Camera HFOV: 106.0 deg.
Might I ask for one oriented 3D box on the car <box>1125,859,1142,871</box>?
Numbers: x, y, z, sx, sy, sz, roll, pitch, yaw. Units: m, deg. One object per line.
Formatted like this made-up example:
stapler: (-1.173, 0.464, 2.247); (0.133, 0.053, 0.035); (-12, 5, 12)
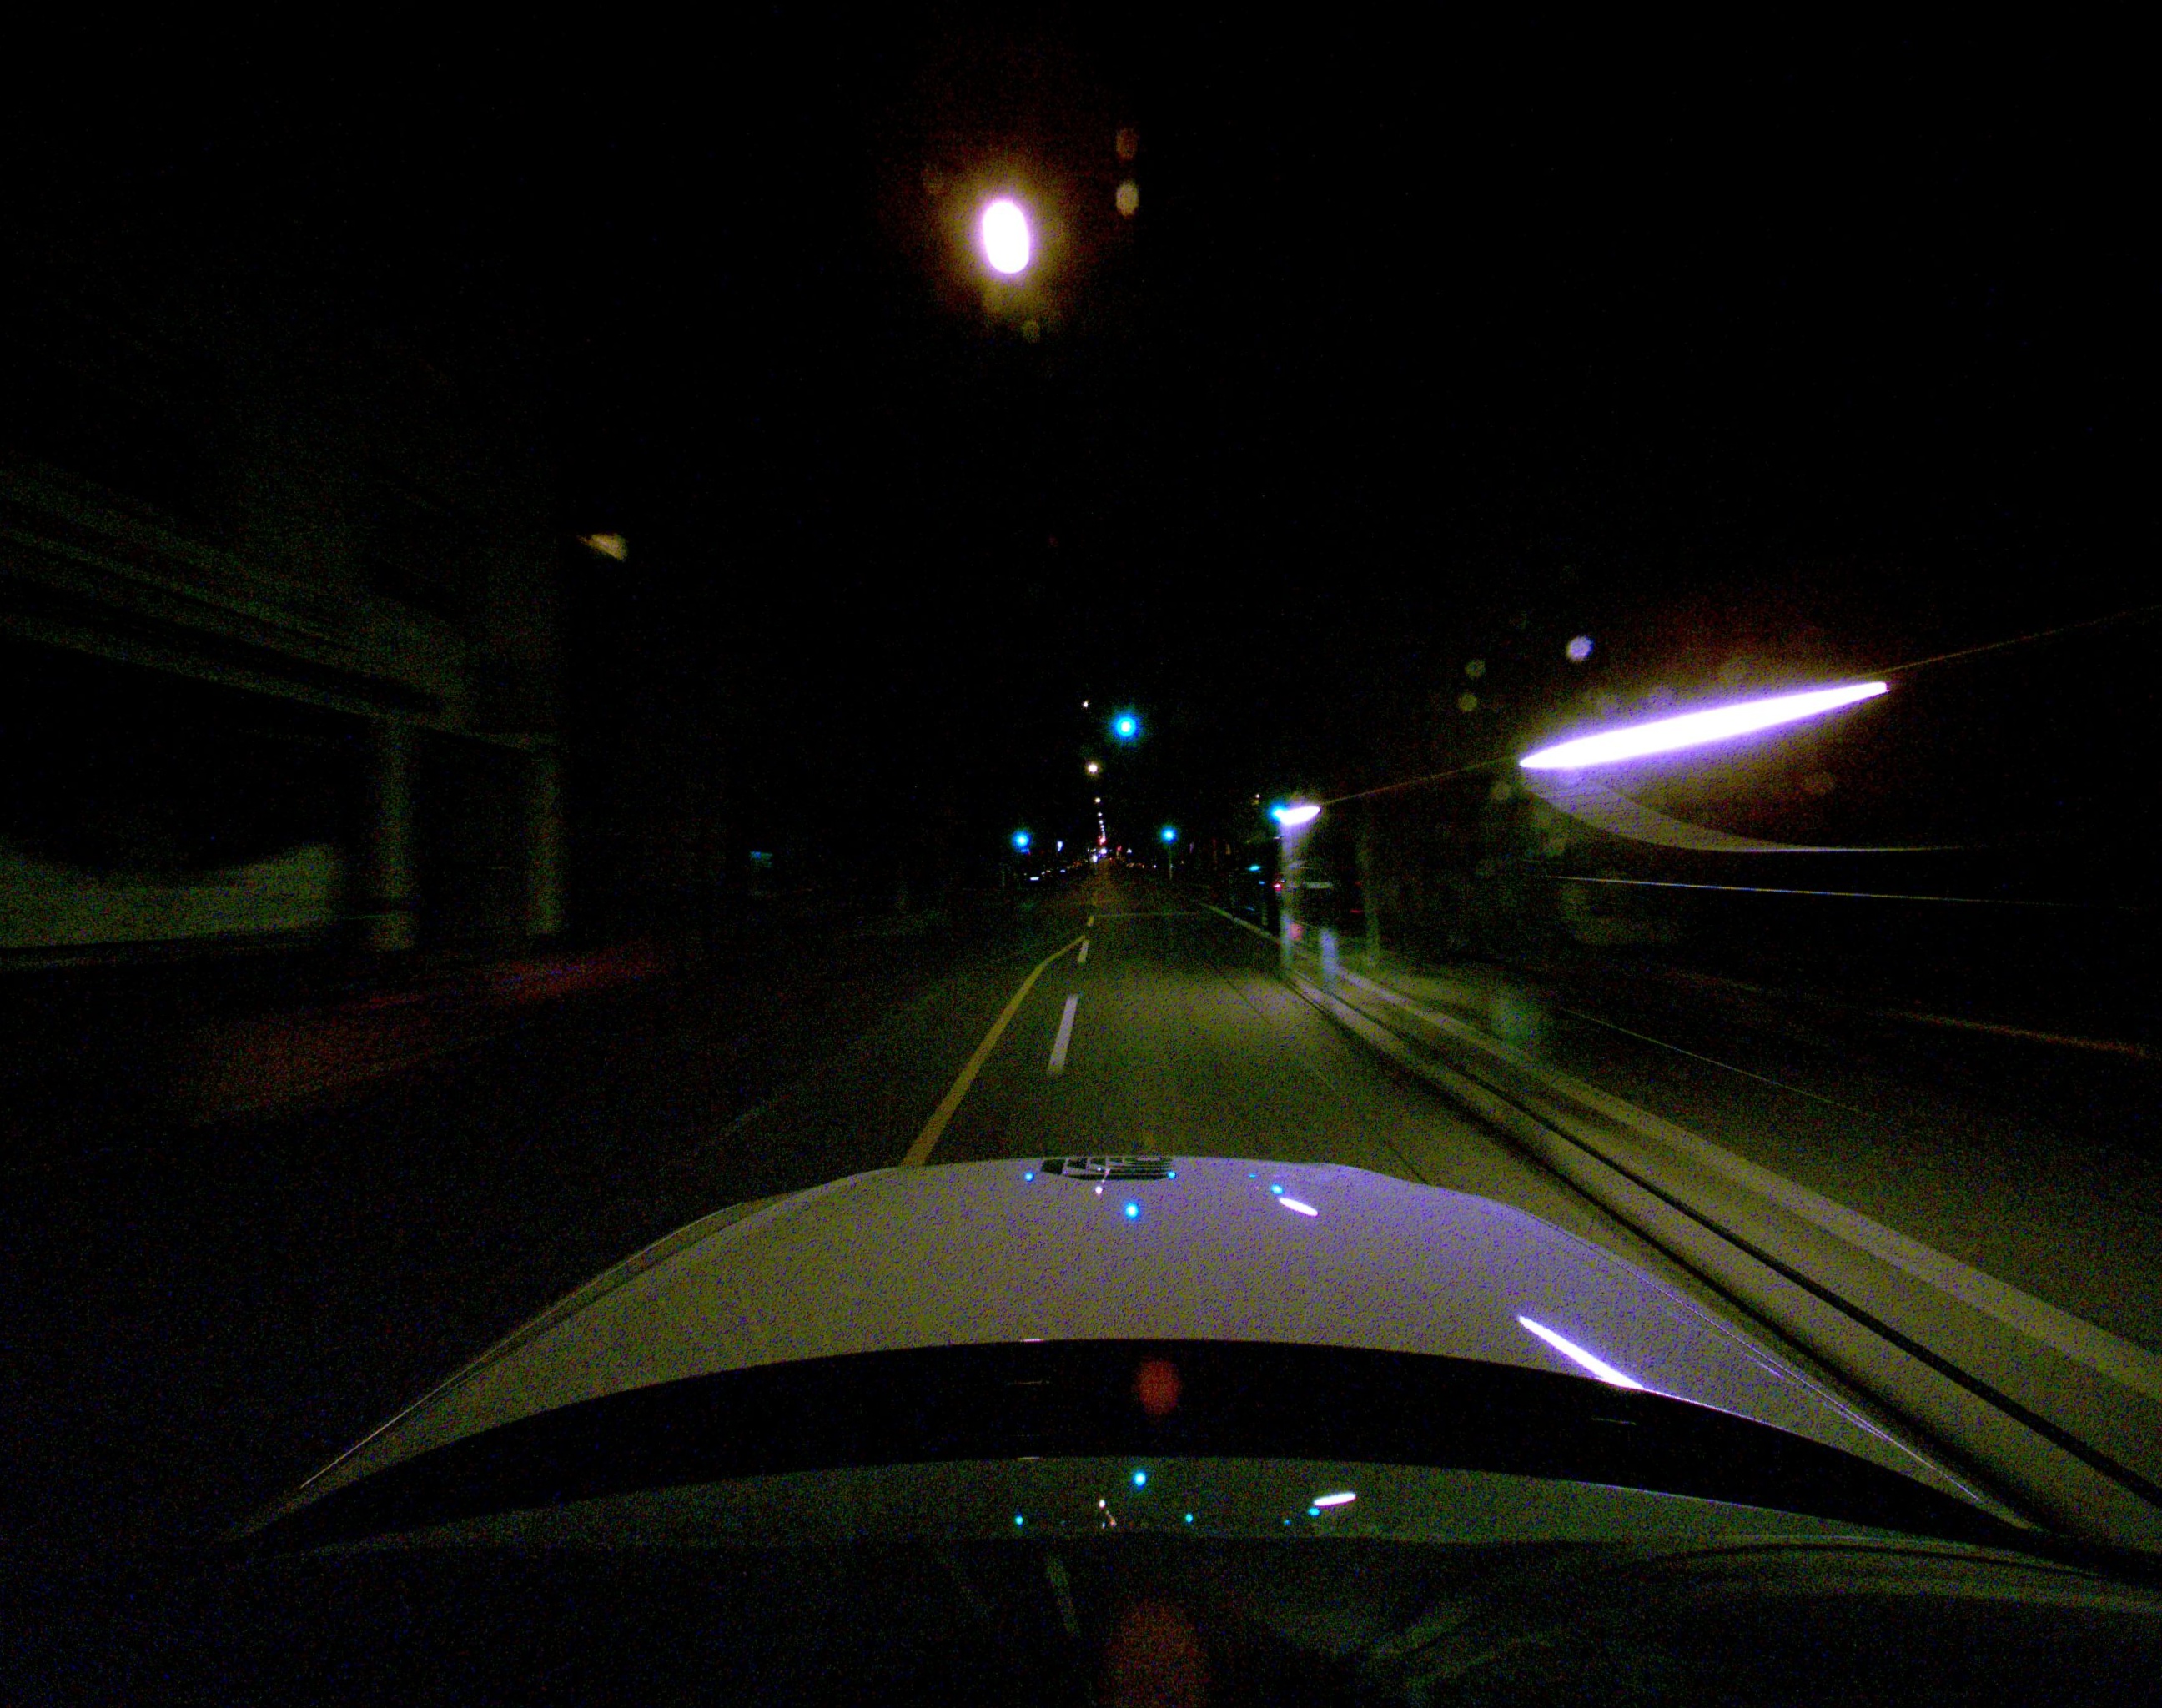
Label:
car: (6.784, 1.400, 105.382); (1.838, 1.417, 4.646); (-4, -1, 1)

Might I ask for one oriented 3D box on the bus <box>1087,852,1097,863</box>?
bus: (3.182, 1.082, 237.627); (2.827, 3.177, 10.503); (-1, 0, 2)

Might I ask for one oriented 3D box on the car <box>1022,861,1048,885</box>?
car: (-3.072, 1.272, 54.539); (1.643, 1.514, 3.699); (-1, -1, -2)

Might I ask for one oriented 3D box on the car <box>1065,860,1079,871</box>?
car: (-1.285, 1.653, 116.381); (1.857, 1.492, 4.280); (-1, -1, 1)

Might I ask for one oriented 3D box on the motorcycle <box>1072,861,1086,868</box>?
motorcycle: (-0.333, 1.733, 134.996); (2.180, 1.131, 0.720); (-2, 0, 34)

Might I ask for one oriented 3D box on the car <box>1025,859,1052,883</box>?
car: (-3.122, 1.211, 60.035); (1.843, 1.650, 4.668); (-1, 0, -2)

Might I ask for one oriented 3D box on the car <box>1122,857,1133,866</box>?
car: (8.178, 1.360, 143.819); (1.756, 1.476, 4.082); (-3, 0, 2)

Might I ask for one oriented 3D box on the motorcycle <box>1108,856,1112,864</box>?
motorcycle: (7.072, 1.457, 200.492); (0.927, 1.752, 2.626); (-1, -1, 2)

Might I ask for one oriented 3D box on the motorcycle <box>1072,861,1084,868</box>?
motorcycle: (-0.448, 1.768, 132.979); (0.720, 1.147, 2.182); (-2, 0, -41)

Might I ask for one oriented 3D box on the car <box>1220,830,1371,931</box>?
car: (4.435, 0.516, 17.692); (1.905, 1.827, 4.898); (-2, 0, -1)

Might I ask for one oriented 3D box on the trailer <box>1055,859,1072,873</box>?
trailer: (-2.077, 1.458, 96.744); (1.629, 1.640, 3.445); (-1, -1, 6)

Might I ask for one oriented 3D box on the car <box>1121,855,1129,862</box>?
car: (10.407, 1.060, 192.818); (1.805, 1.594, 4.275); (-3, 0, 2)

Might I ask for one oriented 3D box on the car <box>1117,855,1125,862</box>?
car: (10.197, 1.104, 205.990); (1.862, 1.526, 4.151); (-3, 0, 2)

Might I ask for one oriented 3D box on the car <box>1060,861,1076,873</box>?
car: (-1.633, 1.611, 102.696); (1.829, 1.447, 4.545); (-2, 0, 1)

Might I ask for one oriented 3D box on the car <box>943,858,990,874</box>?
car: (-10.737, 1.153, 76.337); (3.961, 1.425, 1.767); (1, -1, 11)

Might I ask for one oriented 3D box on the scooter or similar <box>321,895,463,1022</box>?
scooter or similar: (-7.418, 1.081, 8.838); (0.330, 1.225, 1.336); (-1, -1, 4)

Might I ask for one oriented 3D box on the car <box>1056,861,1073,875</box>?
car: (-1.883, 1.559, 92.137); (1.808, 1.484, 4.347); (-1, -1, 0)
